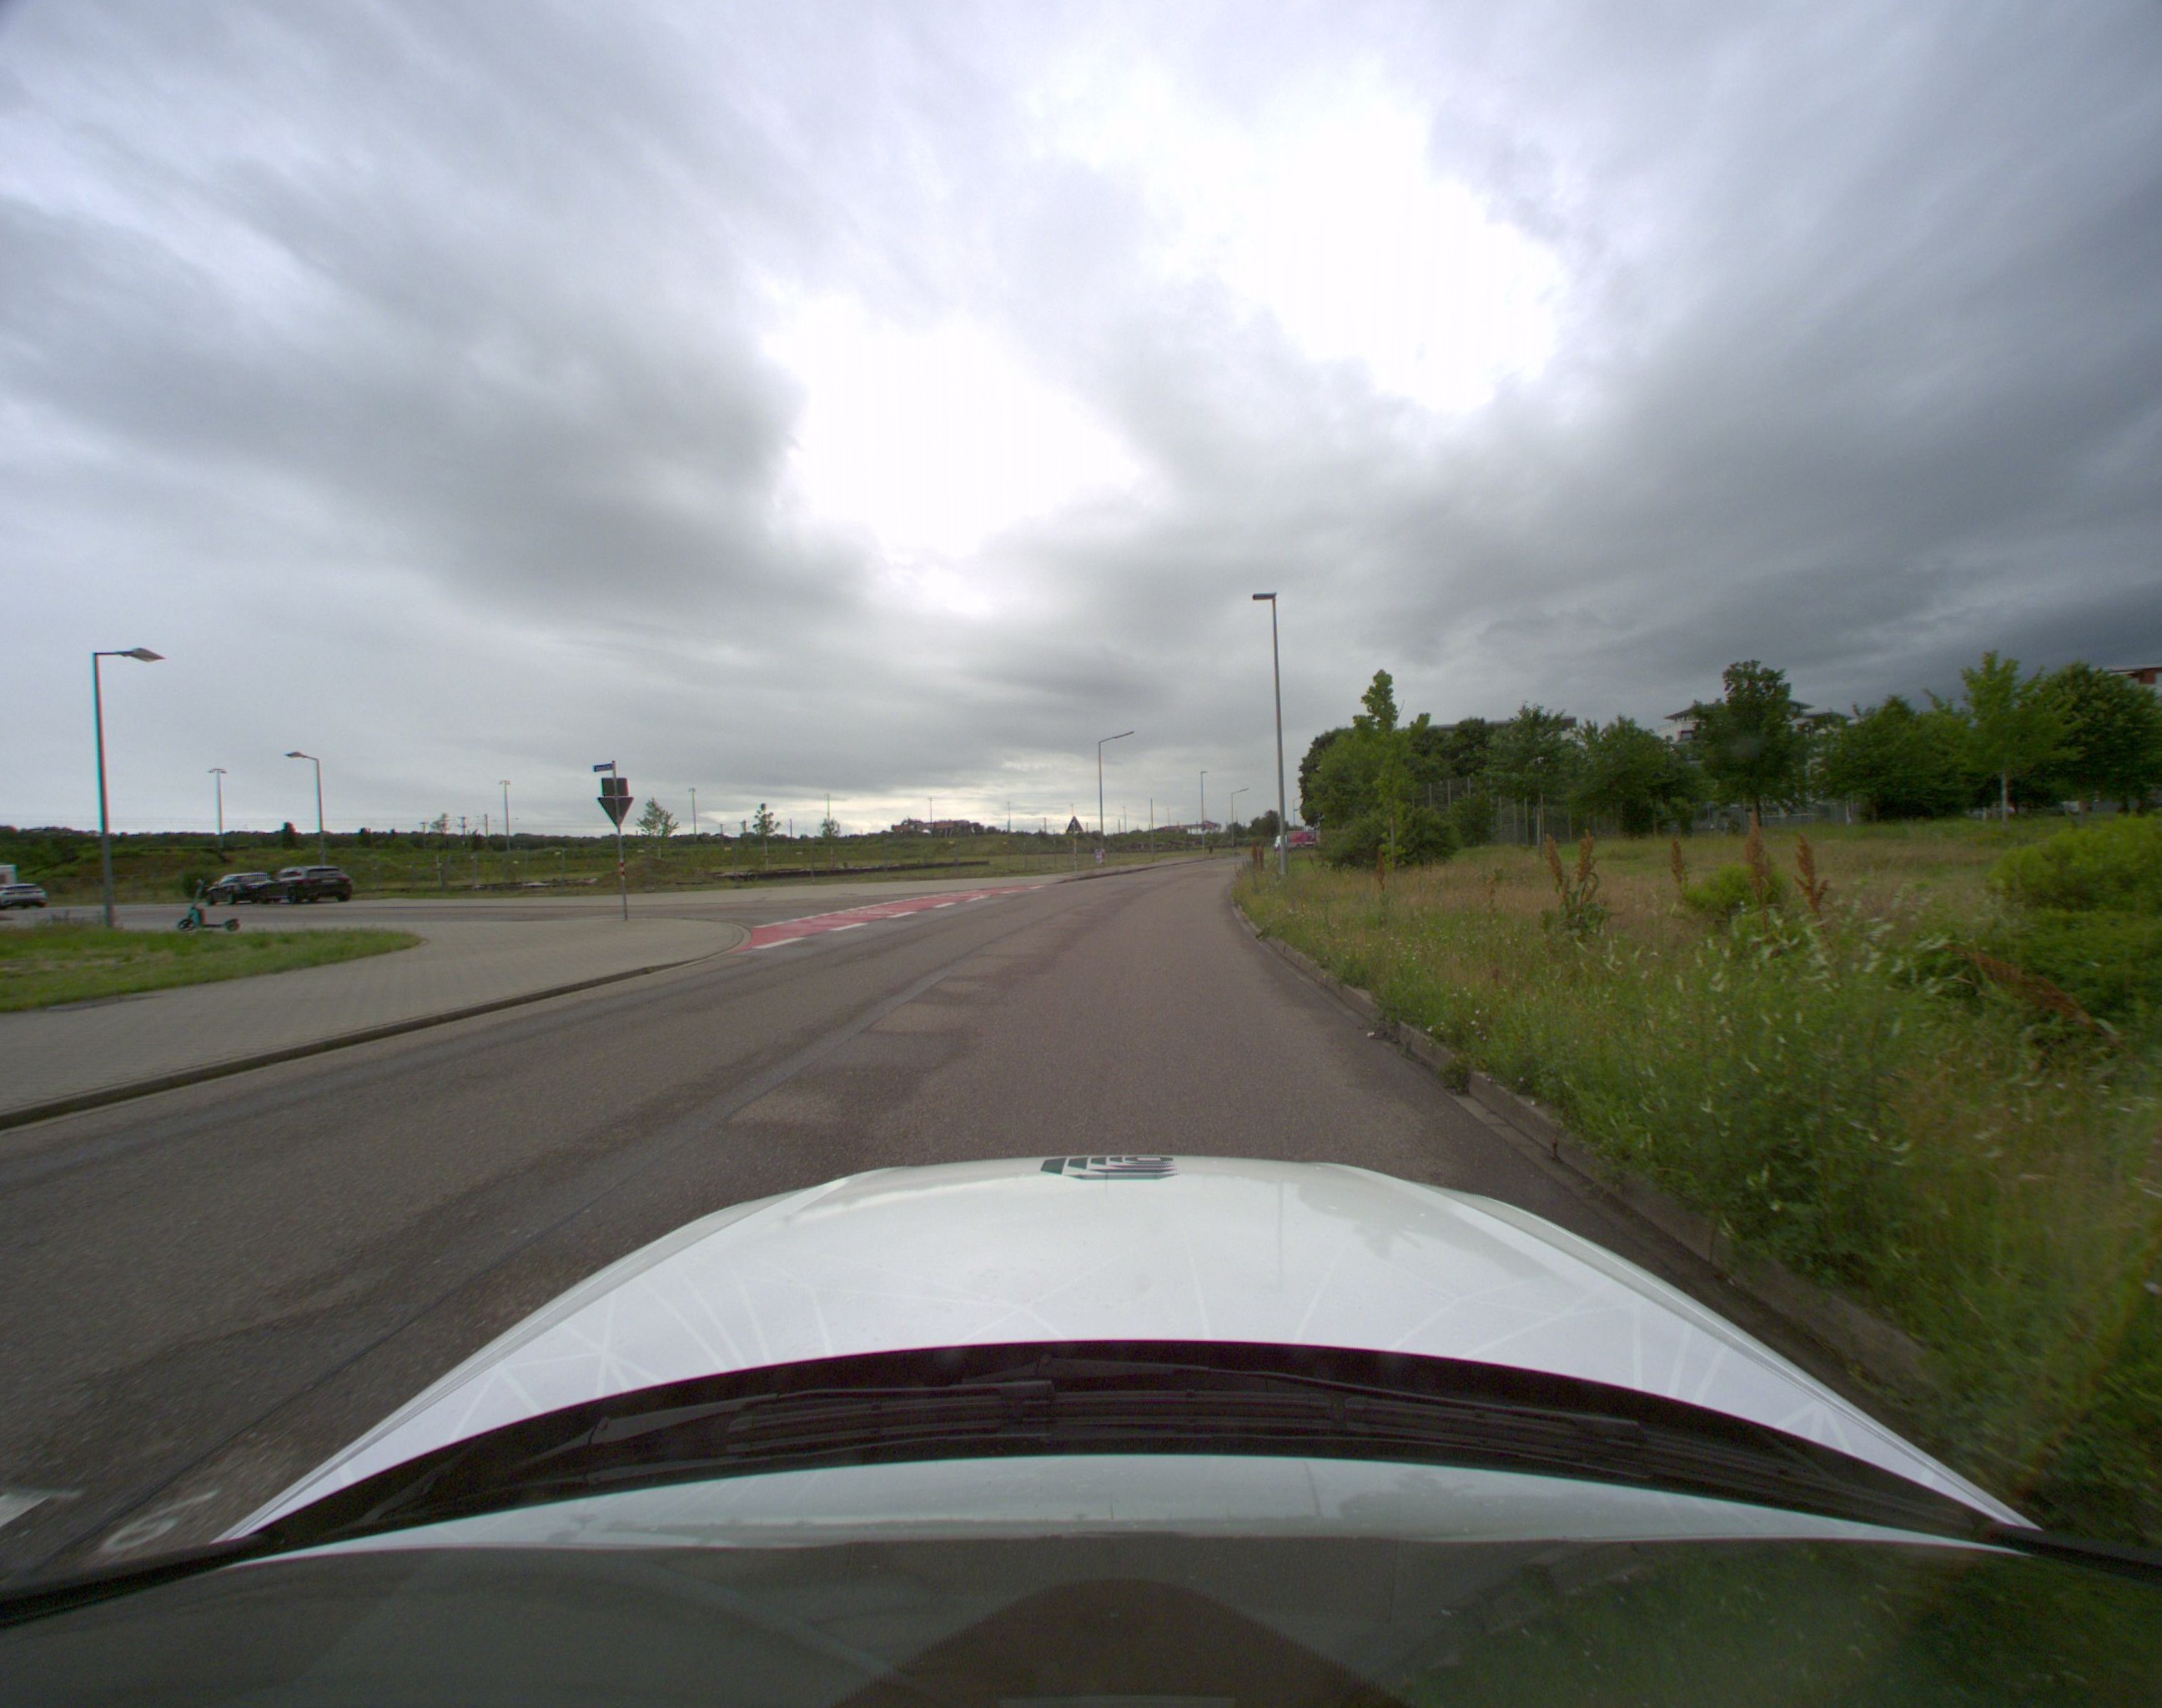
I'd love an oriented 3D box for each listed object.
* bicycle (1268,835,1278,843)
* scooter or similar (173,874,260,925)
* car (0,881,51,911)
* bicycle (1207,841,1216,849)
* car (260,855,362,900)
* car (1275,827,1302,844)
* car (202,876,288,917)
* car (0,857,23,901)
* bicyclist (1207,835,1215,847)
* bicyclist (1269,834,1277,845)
[{"bbox_3d":[30.662,-2.357,130.234,0.811,1.204,2.573,-2,1,31],"label":"bicycle"},{"bbox_3d":[-20.954,1.093,19.752,1.458,1.168,0.571,-1,0,0],"label":"scooter or similar"},{"bbox_3d":[-70.165,2.767,53.647,3.950,1.746,2.012,-2,1,26],"label":"car"},{"bbox_3d":[17.072,-1.150,106.722,0.797,0.907,2.243,-2,1,19],"label":"bicycle"},{"bbox_3d":[-34.599,1.061,36.598,3.950,1.822,2.012,-2,1,27],"label":"car"},{"bbox_3d":[32.196,-2.899,126.209,2.267,2.555,6.451,-2,1,29],"label":"car"},{"bbox_3d":[-39.740,1.993,38.699,3.629,1.752,1.816,-2,1,28],"label":"car"},{"bbox_3d":[-77.508,1.854,57.084,6.494,2.956,2.731,-2,1,26],"label":"car"},{"bbox_3d":[17.062,-1.723,106.732,0.775,1.526,1.099,-2,1,19],"label":"bicyclist"},{"bbox_3d":[30.649,-2.338,130.188,0.819,1.821,1.339,-2,1,32],"label":"bicyclist"}]
